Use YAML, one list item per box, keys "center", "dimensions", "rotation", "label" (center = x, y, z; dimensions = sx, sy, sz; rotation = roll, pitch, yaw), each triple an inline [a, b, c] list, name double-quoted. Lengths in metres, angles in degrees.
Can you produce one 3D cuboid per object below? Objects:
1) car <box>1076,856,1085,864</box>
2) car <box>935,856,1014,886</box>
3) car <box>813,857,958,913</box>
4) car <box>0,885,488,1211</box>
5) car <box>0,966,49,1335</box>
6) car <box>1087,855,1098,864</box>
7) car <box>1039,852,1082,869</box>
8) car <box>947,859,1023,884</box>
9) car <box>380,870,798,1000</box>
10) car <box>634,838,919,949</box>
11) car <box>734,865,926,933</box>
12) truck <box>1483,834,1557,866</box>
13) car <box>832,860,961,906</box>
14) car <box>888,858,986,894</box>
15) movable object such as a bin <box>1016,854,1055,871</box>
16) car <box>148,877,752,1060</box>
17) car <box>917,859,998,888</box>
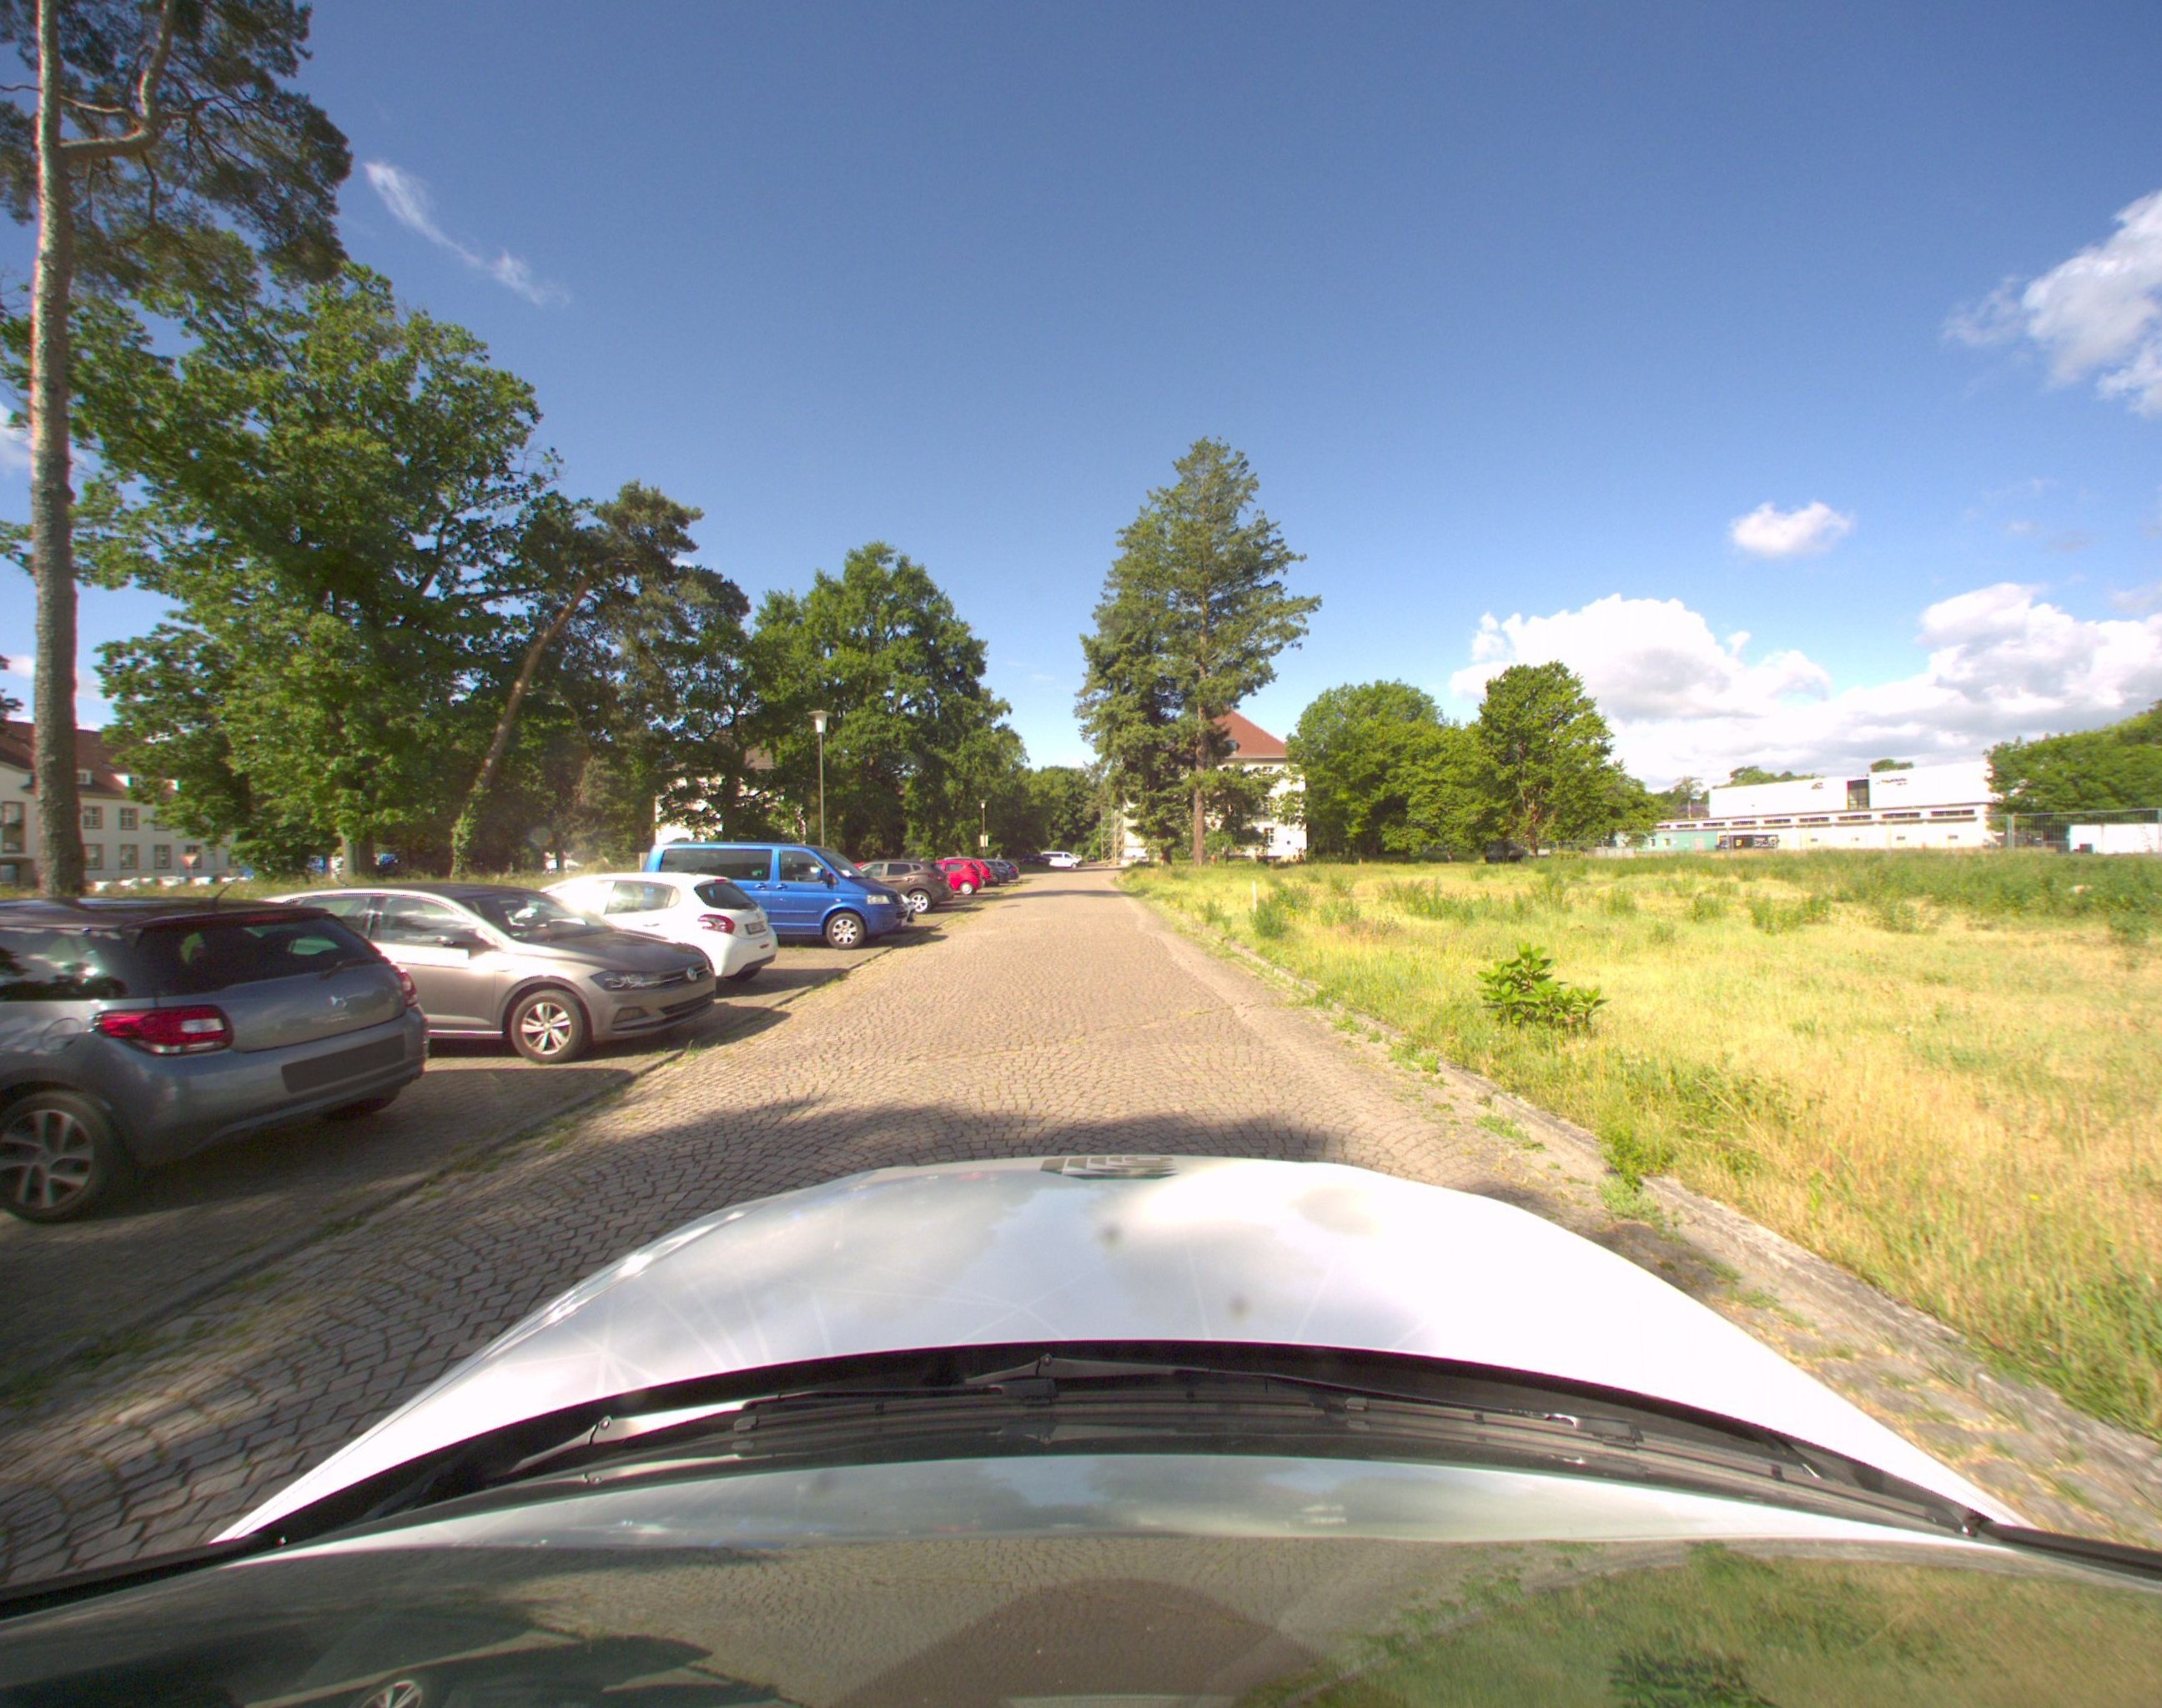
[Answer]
- center: [-0.063, 1.218, 164.912]
  dimensions: [1.807, 1.579, 4.133]
  rotation: [-2, 0, -1]
  label: "car"
- center: [-5.880, 0.951, 45.247]
  dimensions: [4.123, 1.579, 1.884]
  rotation: [-1, 0, -1]
  label: "car"
- center: [-5.821, 0.902, 24.643]
  dimensions: [3.943, 1.567, 1.972]
  rotation: [0, 0, -2]
  label: "car"
- center: [-6.105, 0.921, 4.642]
  dimensions: [4.063, 1.452, 1.821]
  rotation: [0, -1, 0]
  label: "car"
- center: [-5.478, 0.997, 1.985]
  dimensions: [3.618, 1.234, 1.760]
  rotation: [0, -1, 0]
  label: "car"
- center: [2.331, 1.102, 165.259]
  dimensions: [1.965, 1.668, 4.084]
  rotation: [-2, 0, -1]
  label: "car"
- center: [-2.466, 0.773, 98.869]
  dimensions: [5.220, 2.016, 1.949]
  rotation: [-1, 0, -2]
  label: "car"
- center: [-5.857, 1.080, 49.929]
  dimensions: [4.343, 1.445, 1.922]
  rotation: [-1, 0, 2]
  label: "car"
- center: [-6.039, 0.960, 10.409]
  dimensions: [4.184, 1.475, 1.823]
  rotation: [0, 0, -1]
  label: "car"
- center: [-5.688, 0.722, 15.709]
  dimensions: [4.703, 1.968, 2.004]
  rotation: [0, -1, -1]
  label: "car"
- center: [-5.531, 0.980, 18.316]
  dimensions: [3.808, 1.440, 1.681]
  rotation: [0, -1, -4]
  label: "car"
- center: [35.784, -0.300, 66.677]
  dimensions: [2.227, 2.424, 6.882]
  rotation: [0, 0, -1]
  label: "truck"
- center: [-6.130, 0.962, 27.368]
  dimensions: [3.913, 1.449, 1.865]
  rotation: [0, 0, -2]
  label: "car"
- center: [-6.107, 0.940, 34.960]
  dimensions: [3.913, 1.461, 1.840]
  rotation: [0, 0, -2]
  label: "car"
- center: [-4.826, 0.886, 85.729]
  dimensions: [3.537, 1.744, 2.034]
  rotation: [-2, 0, 18]
  label: "movable object such as a bin"
- center: [-5.482, 0.952, 7.539]
  dimensions: [4.063, 1.425, 1.923]
  rotation: [0, 0, 0]
  label: "car"
- center: [-6.445, 1.026, 42.840]
  dimensions: [3.910, 1.433, 1.842]
  rotation: [-1, 0, 0]
  label: "car"
